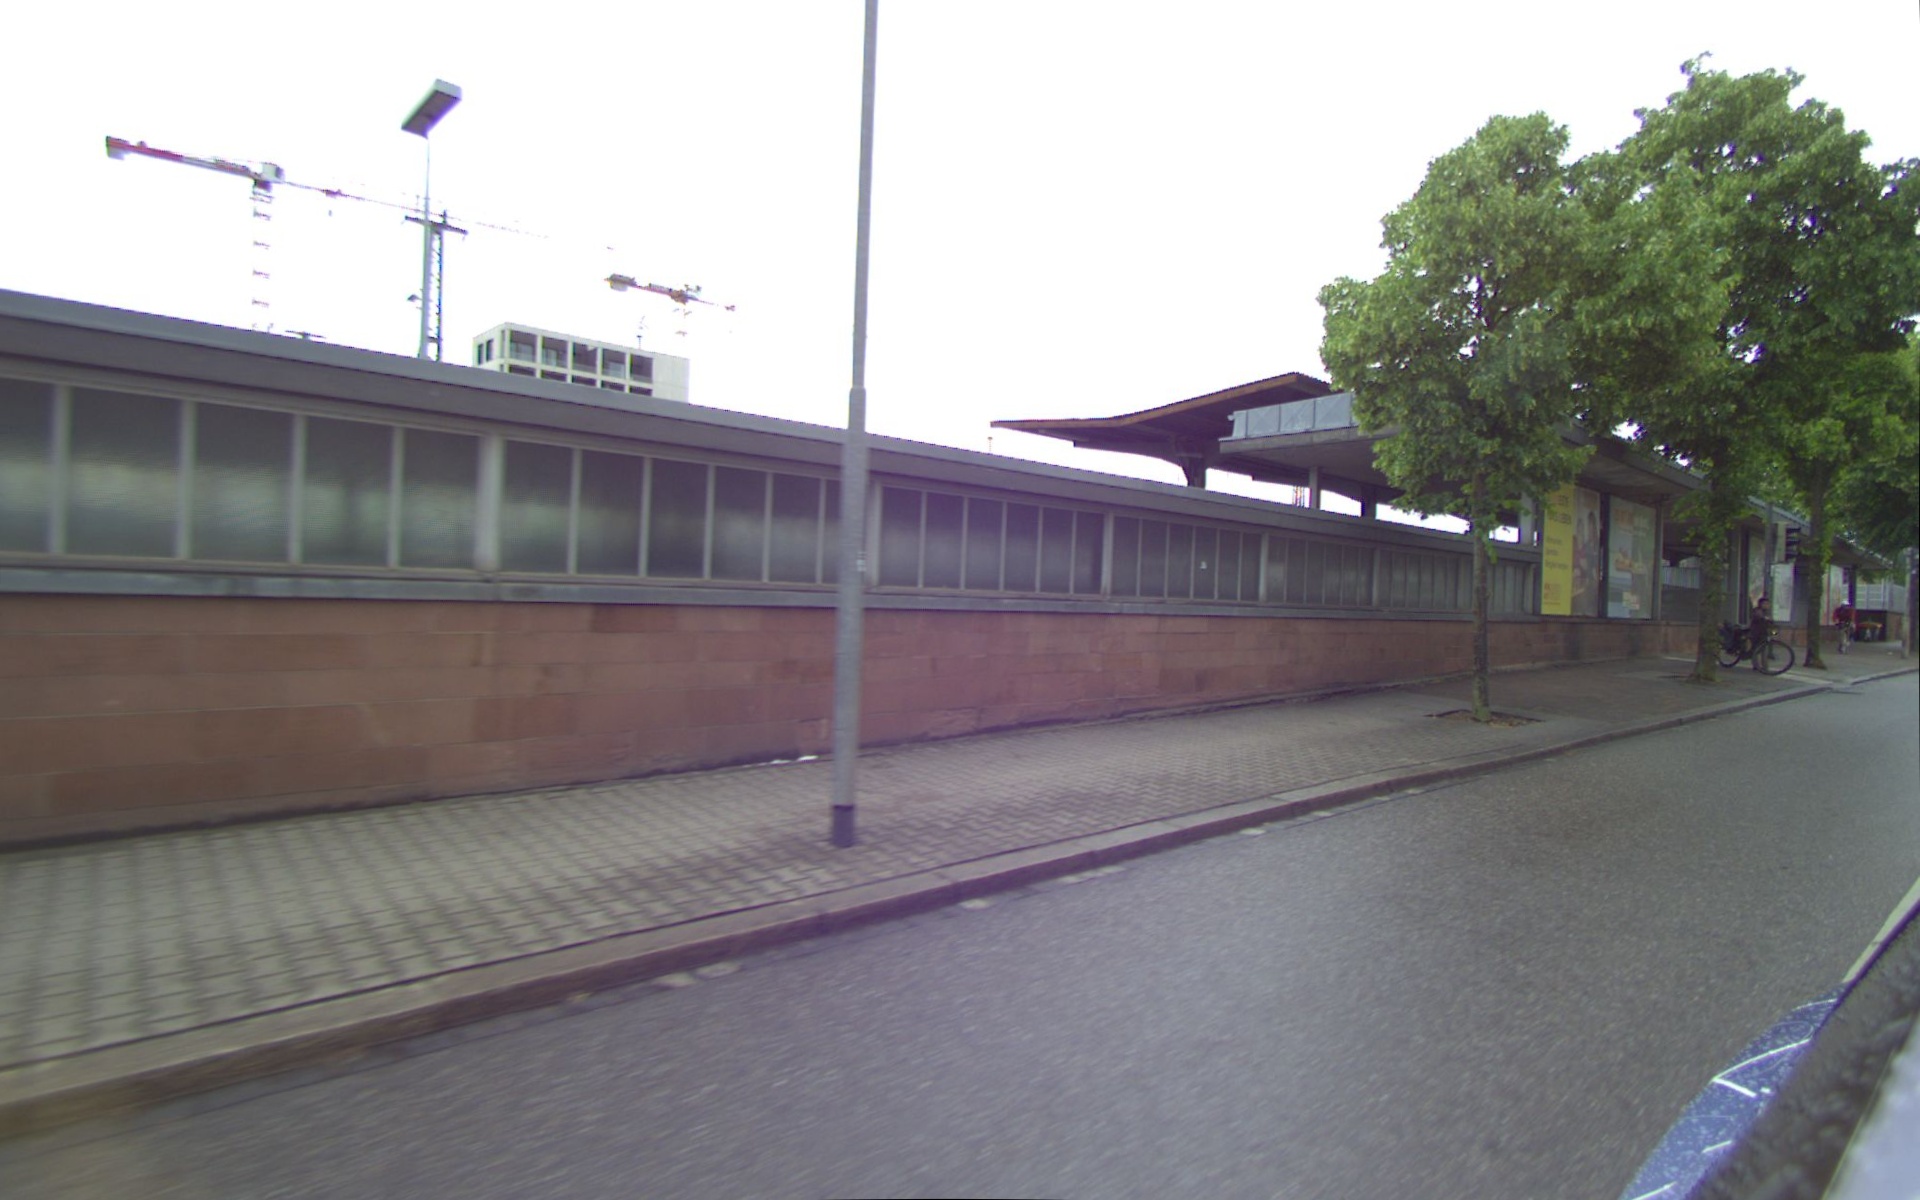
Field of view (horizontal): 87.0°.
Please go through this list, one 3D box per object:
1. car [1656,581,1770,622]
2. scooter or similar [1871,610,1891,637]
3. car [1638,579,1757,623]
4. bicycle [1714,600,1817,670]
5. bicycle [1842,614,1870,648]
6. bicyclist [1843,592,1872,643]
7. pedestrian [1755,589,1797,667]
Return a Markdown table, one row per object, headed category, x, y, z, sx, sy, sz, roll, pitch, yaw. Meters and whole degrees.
| category | x | y | z | sx | sy | sz | roll | pitch | yaw |
| --- | --- | --- | --- | --- | --- | --- | --- | --- | --- |
| car | 32.904 | 0.048 | 44.279 | 1.713 | 1.561 | 3.572 | 2 | 3 | -35 |
| scooter or similar | 41.244 | 1.052 | 45.331 | 1.519 | 1.167 | 0.493 | 1 | 2 | -43 |
| car | 30.849 | 0.019 | 42.406 | 1.717 | 1.561 | 3.689 | 1 | 3 | -42 |
| bicycle | 16.729 | 0.703 | 21.073 | 0.476 | 1.264 | 1.729 | 3 | 3 | -9 |
| bicycle | 28.406 | 0.974 | 32.079 | 1.649 | 1.028 | 0.447 | 1 | 4 | -43 |
| bicyclist | 28.373 | 0.542 | 31.989 | 0.683 | 1.556 | 0.534 | 1 | 3 | -43 |
| pedestrian | 17.053 | 0.571 | 21.162 | 0.385 | 1.588 | 0.459 | 3 | 2 | -6 |
